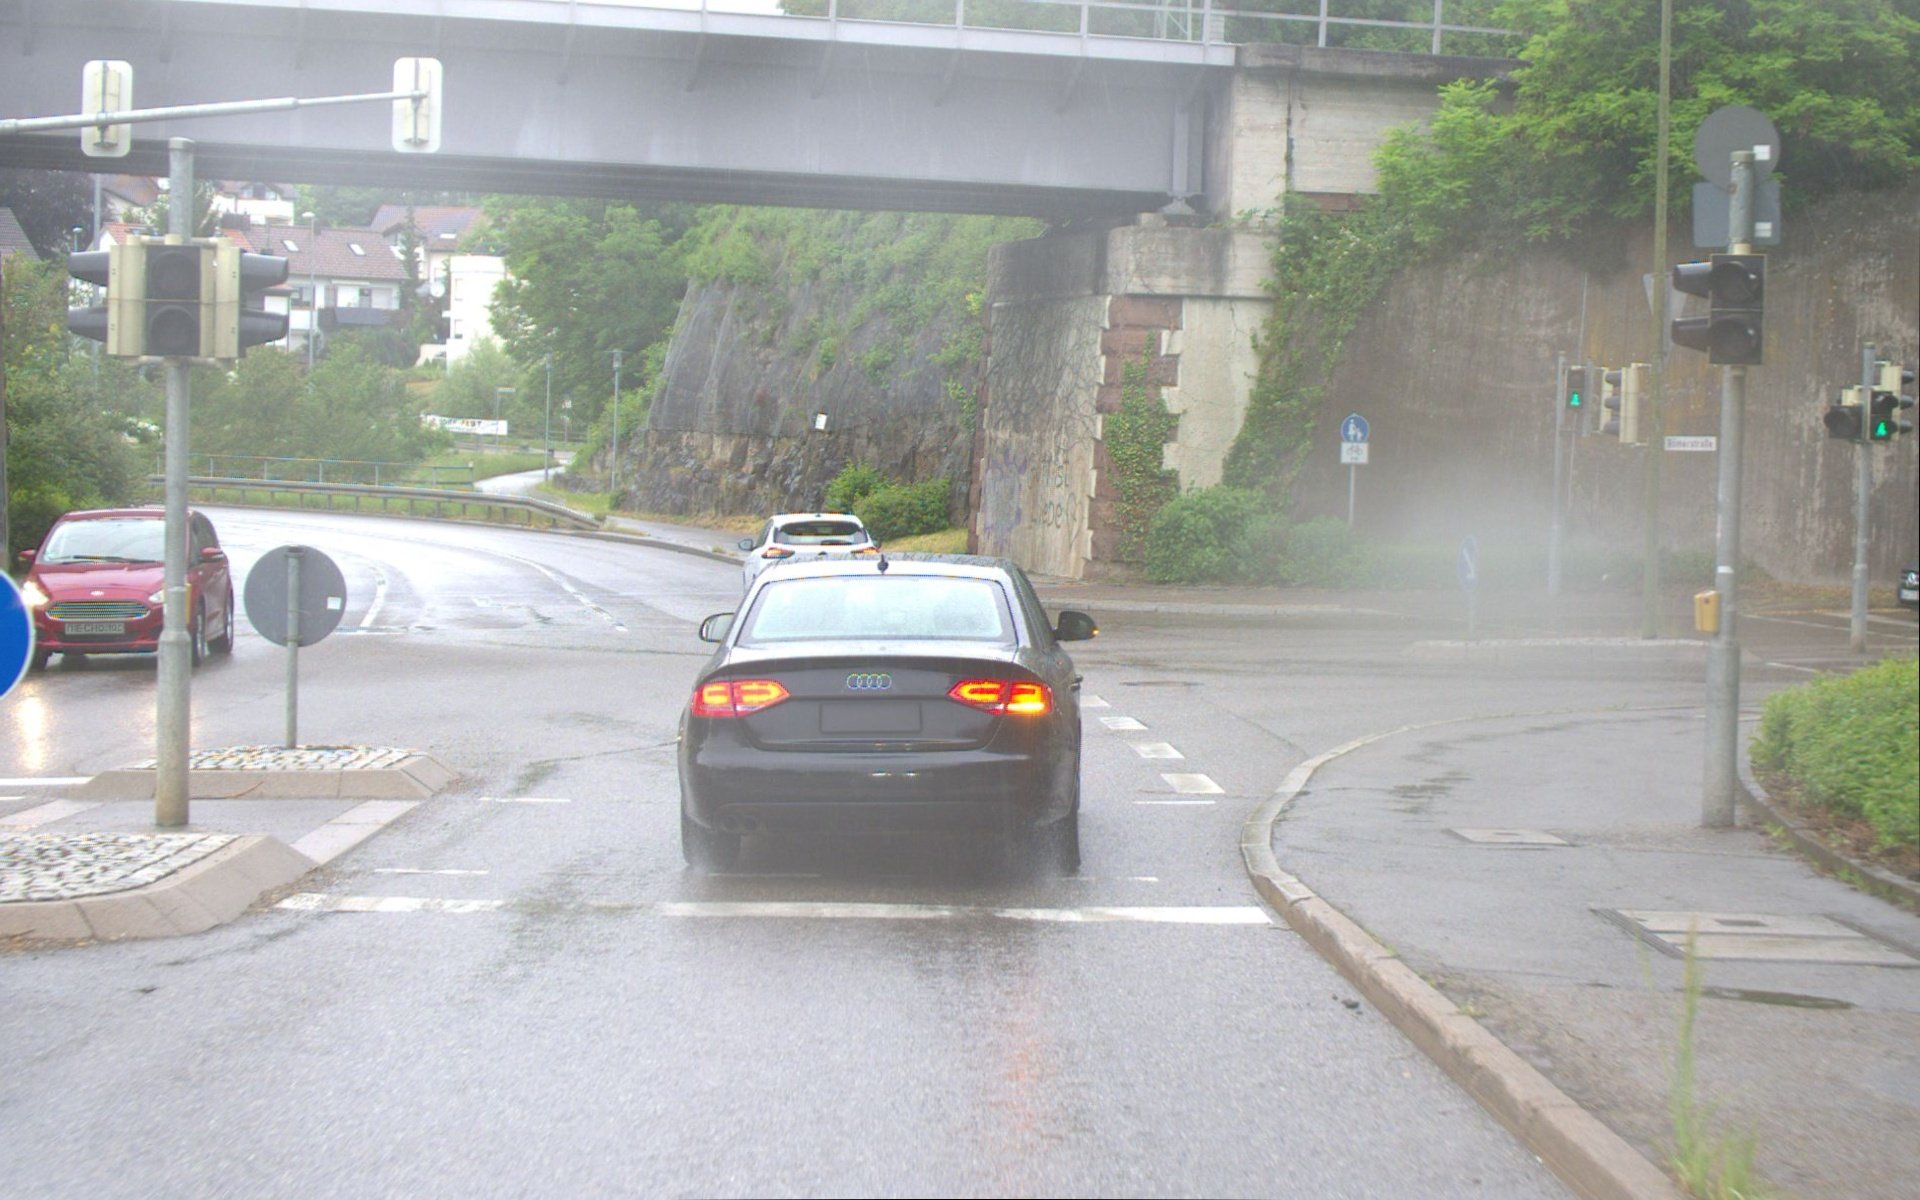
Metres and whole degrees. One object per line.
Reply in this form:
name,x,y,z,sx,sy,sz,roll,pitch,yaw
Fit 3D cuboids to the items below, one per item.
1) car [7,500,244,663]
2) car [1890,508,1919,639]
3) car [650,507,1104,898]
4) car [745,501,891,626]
car,-8.761,-0.215,36.402,1.993,1.623,4.001,0,1,-7
car,13.909,-0.334,43.752,3.699,1.656,1.491,0,0,-7
car,-0.367,0.436,16.267,1.870,1.611,4.000,0,0,-1
car,-1.853,-0.456,45.842,1.823,1.579,4.000,0,0,-1
